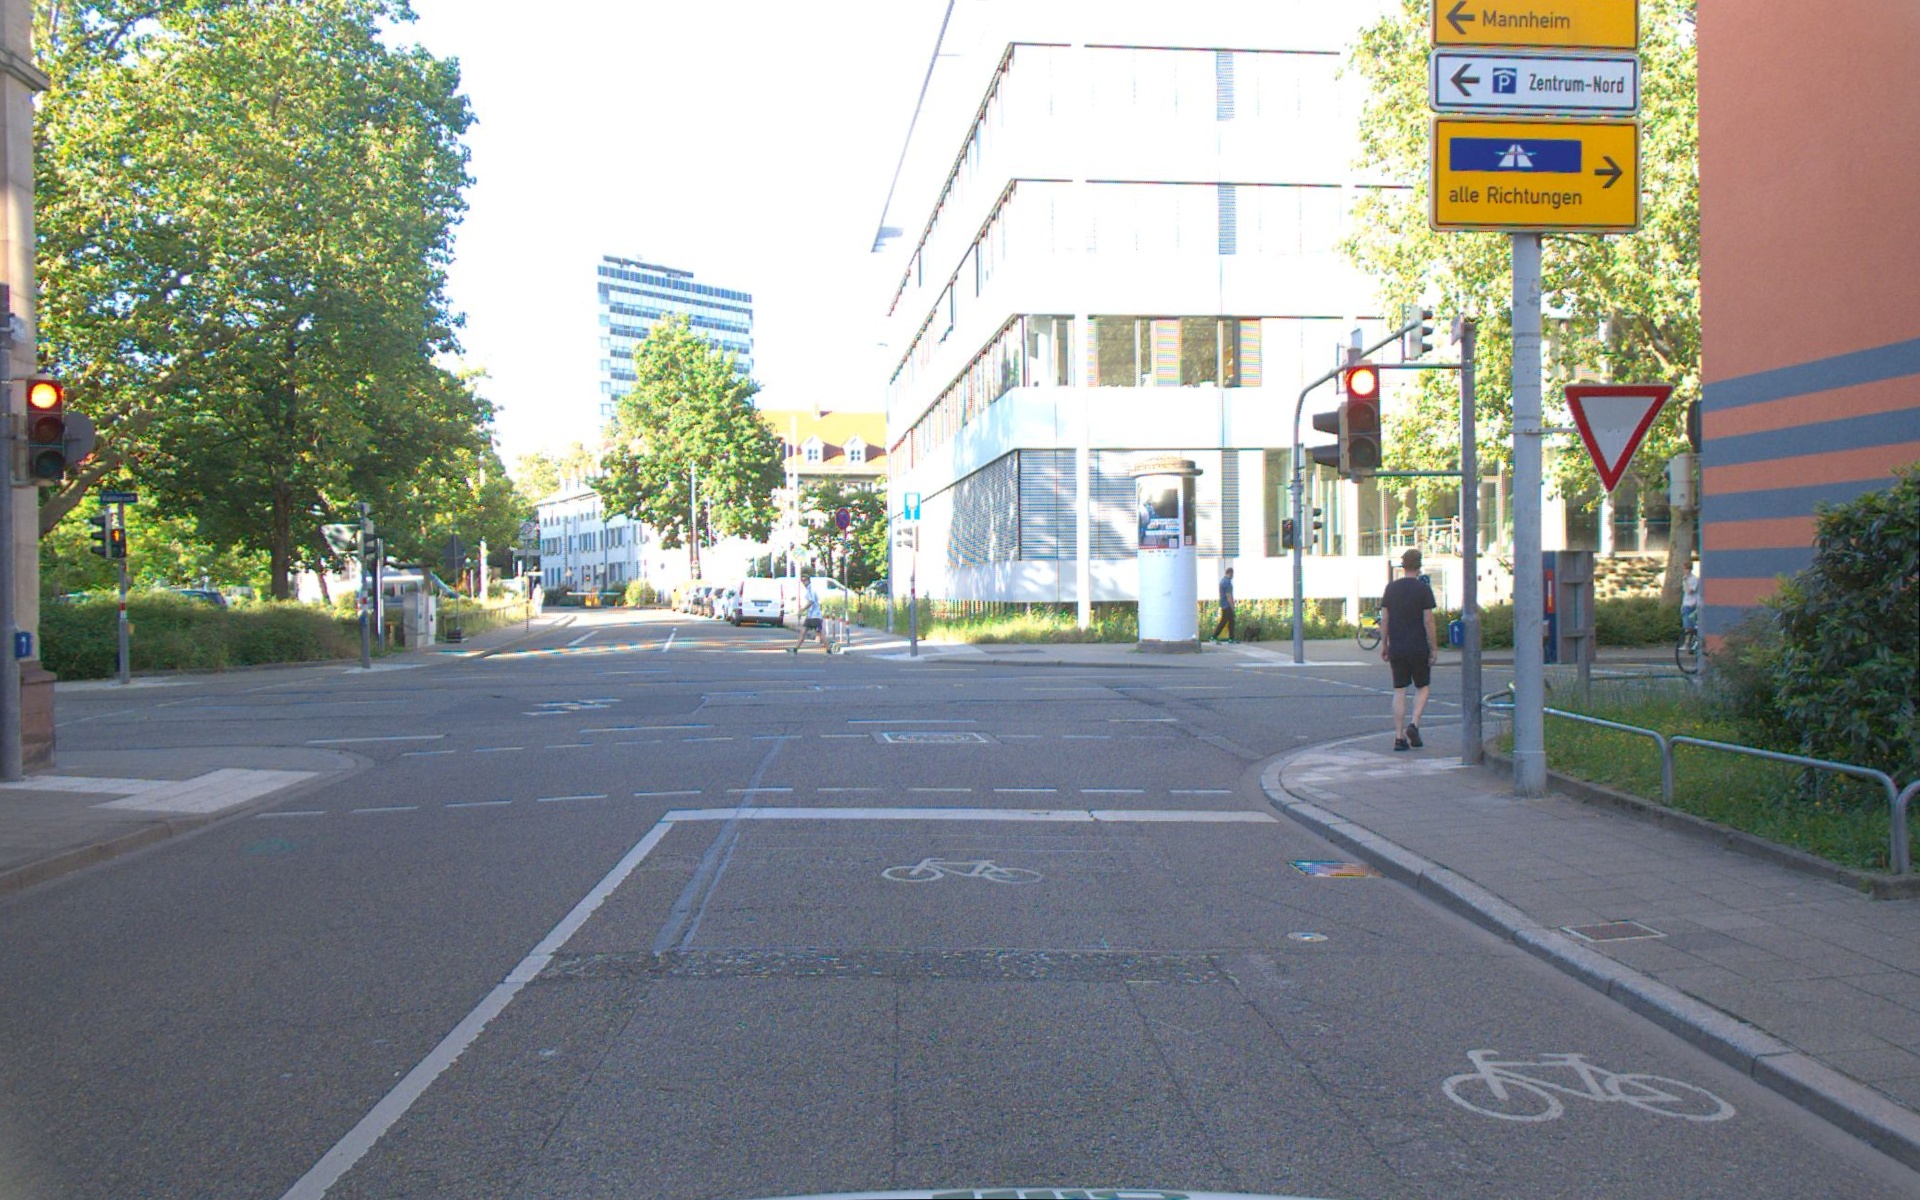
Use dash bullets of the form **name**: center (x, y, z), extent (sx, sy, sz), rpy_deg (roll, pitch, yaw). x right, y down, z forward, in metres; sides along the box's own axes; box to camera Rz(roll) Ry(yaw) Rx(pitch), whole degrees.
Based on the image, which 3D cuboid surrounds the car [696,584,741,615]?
- **car**: center (-12.549, -0.039, 85.796), extent (1.959, 1.525, 4.637), rpy_deg (1, 0, -13)

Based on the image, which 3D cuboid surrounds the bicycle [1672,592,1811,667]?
- **bicycle**: center (12.522, 0.466, 26.535), extent (1.922, 1.172, 0.593), rpy_deg (-1, 0, 5)

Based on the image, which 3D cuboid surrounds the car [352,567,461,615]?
- **car**: center (-24.961, -0.377, 74.689), extent (4.363, 2.049, 1.995), rpy_deg (1, 0, -10)

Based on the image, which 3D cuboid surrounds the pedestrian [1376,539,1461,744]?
- **pedestrian**: center (4.222, 0.372, 15.268), extent (0.684, 1.842, 0.720), rpy_deg (1, -1, 12)

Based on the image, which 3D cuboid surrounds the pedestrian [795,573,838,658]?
- **pedestrian**: center (-3.272, 0.351, 37.652), extent (0.895, 1.901, 0.742), rpy_deg (1, -1, -1)

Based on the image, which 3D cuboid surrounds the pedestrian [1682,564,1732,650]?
- **pedestrian**: center (15.556, 0.147, 34.446), extent (0.749, 1.749, 0.648), rpy_deg (1, -1, 2)

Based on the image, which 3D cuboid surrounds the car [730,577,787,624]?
- **car**: center (-7.914, 0.022, 64.710), extent (1.957, 1.755, 4.641), rpy_deg (1, 0, -10)

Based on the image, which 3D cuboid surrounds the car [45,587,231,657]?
- **car**: center (-18.364, 0.487, 37.071), extent (3.347, 1.483, 1.646), rpy_deg (1, 0, -11)

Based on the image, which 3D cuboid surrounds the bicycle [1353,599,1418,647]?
- **bicycle**: center (9.325, 0.505, 36.290), extent (0.376, 1.026, 1.410), rpy_deg (-1, 0, -42)

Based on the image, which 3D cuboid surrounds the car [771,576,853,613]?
- **car**: center (-9.198, -0.336, 102.804), extent (4.718, 2.196, 1.990), rpy_deg (1, 0, -18)

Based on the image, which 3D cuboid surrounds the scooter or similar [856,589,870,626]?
- **scooter or similar**: center (-3.426, 0.271, 58.243), extent (0.429, 1.278, 1.418), rpy_deg (-1, 0, -5)

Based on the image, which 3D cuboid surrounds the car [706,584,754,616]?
- **car**: center (-11.306, 0.001, 81.091), extent (1.959, 1.525, 4.272), rpy_deg (1, 0, -13)

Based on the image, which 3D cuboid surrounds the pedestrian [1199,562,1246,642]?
- **pedestrian**: center (6.181, 0.041, 38.992), extent (0.897, 1.847, 0.760), rpy_deg (1, -1, -9)

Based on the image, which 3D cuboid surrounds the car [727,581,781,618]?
- **car**: center (-8.867, -0.011, 70.909), extent (1.958, 1.525, 4.639), rpy_deg (1, 0, -11)

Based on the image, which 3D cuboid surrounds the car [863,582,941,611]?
- **car**: center (-3.673, -0.221, 104.730), extent (4.563, 1.755, 1.991), rpy_deg (1, 0, -17)

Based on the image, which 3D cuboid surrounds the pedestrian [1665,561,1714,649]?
- **pedestrian**: center (15.520, 0.105, 35.185), extent (0.749, 1.826, 0.648), rpy_deg (1, -1, 2)

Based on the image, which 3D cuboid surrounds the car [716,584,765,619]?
- **car**: center (-10.192, 0.068, 76.659), extent (1.958, 1.525, 4.639), rpy_deg (1, 0, -11)

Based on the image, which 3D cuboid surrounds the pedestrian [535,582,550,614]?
- **pedestrian**: center (-21.527, -0.114, 85.203), extent (0.688, 1.614, 0.634), rpy_deg (1, -1, -16)

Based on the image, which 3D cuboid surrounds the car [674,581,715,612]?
- **car**: center (-15.382, -0.198, 95.612), extent (1.960, 1.755, 4.635), rpy_deg (1, 0, -14)
